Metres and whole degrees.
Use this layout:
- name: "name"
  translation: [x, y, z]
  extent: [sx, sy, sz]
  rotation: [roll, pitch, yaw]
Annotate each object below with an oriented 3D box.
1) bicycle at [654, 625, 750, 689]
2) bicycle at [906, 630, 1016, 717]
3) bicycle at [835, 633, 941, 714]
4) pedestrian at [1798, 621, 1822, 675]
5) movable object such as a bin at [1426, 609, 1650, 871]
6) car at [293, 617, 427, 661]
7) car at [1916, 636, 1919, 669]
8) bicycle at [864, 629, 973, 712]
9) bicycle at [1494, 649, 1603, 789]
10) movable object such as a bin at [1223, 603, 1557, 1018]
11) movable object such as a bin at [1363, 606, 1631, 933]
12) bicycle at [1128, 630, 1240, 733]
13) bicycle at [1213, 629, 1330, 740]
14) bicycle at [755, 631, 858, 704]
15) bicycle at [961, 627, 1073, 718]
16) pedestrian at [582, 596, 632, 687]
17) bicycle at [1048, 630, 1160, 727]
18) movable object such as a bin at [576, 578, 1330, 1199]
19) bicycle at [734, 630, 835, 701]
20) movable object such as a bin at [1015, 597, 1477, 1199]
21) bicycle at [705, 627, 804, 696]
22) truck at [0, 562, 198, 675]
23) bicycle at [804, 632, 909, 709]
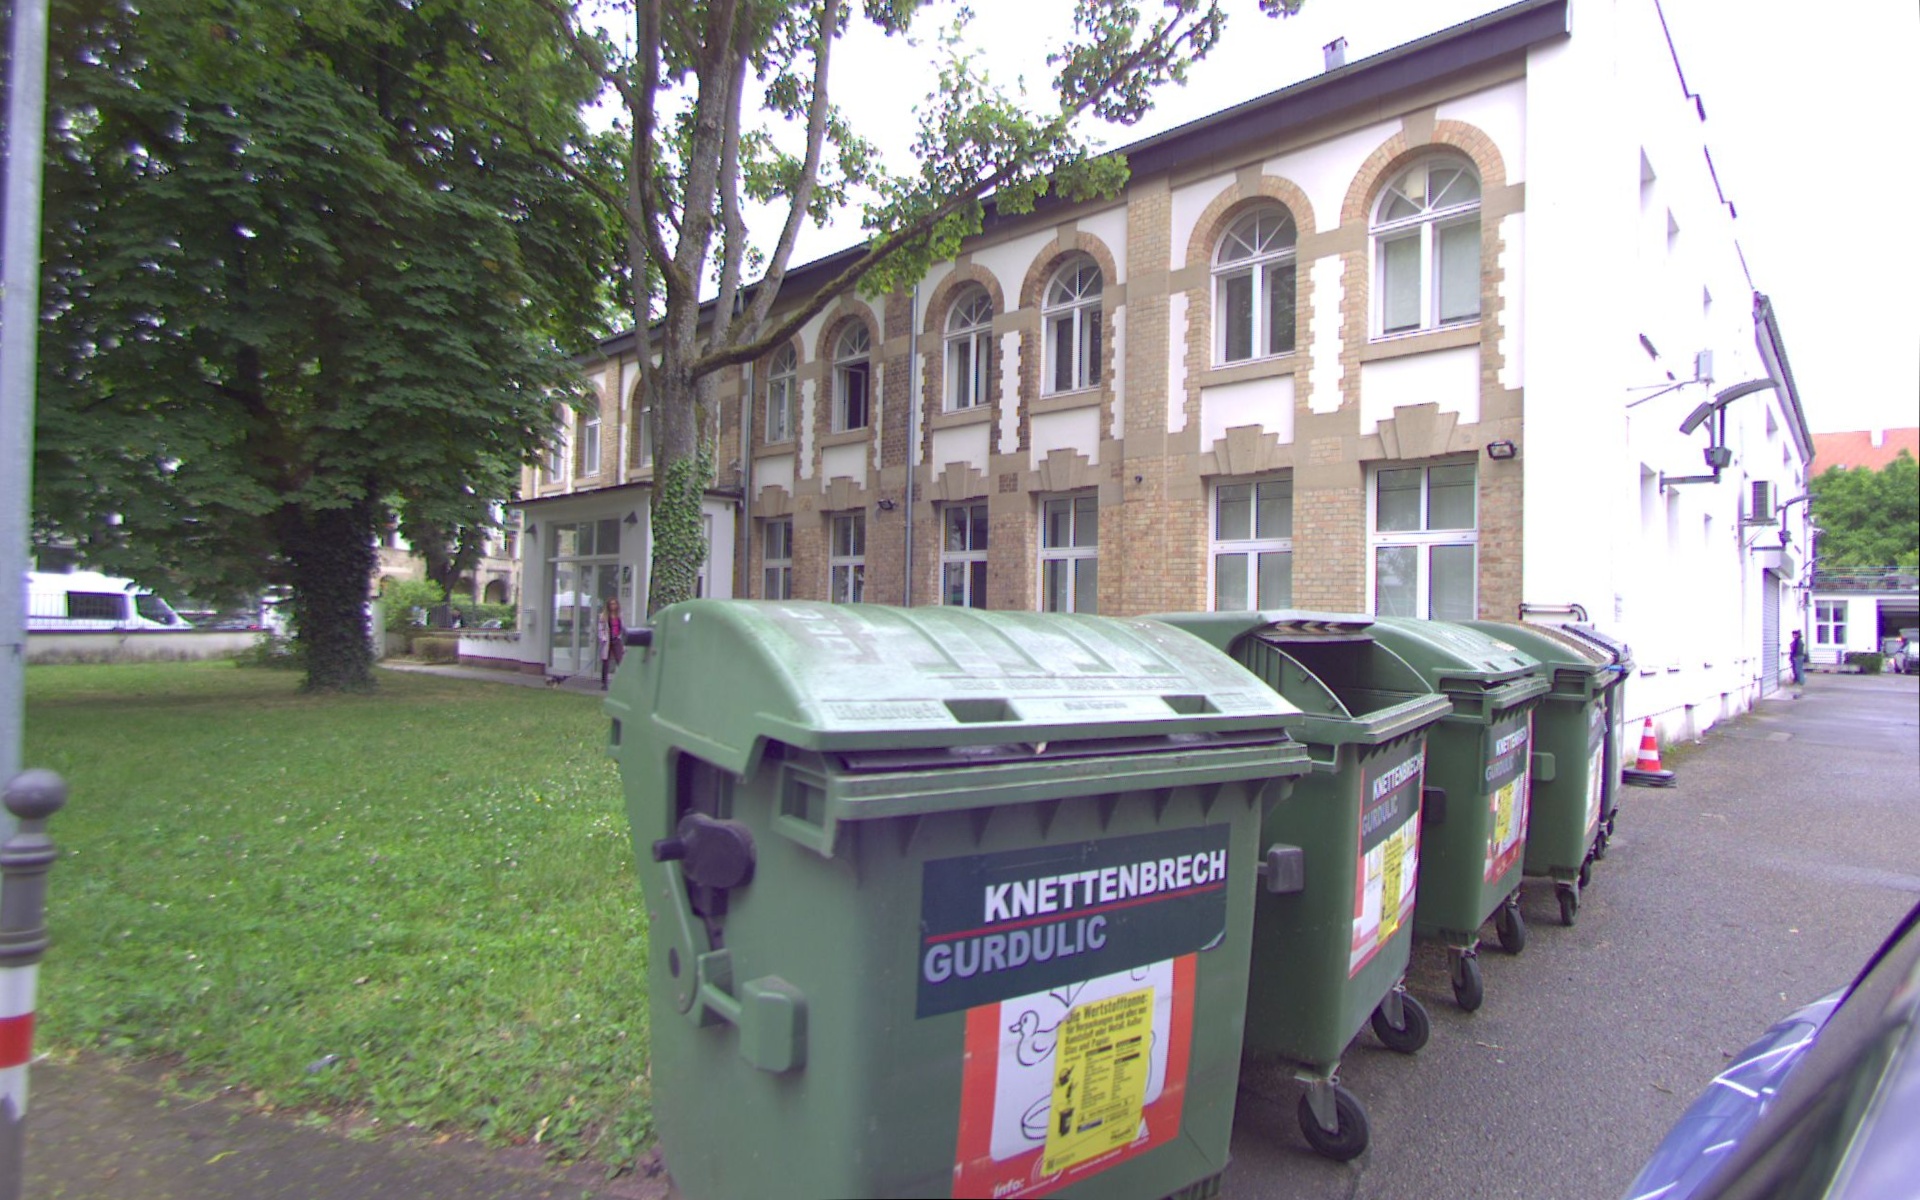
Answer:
- name: "bicycle"
  translation: [-4.742, 1.028, 18.718]
  extent: [0.459, 1.129, 1.716]
  rotation: [-1, -2, 44]
- name: "bicycle"
  translation: [0.038, 0.989, 14.081]
  extent: [0.459, 1.129, 1.716]
  rotation: [-1, -2, 44]
- name: "bicycle"
  translation: [-1.057, 1.071, 15.194]
  extent: [0.459, 1.129, 1.716]
  rotation: [-1, -2, 44]
- name: "pedestrian"
  translation: [25.339, 1.417, 30.167]
  extent: [0.496, 1.582, 0.424]
  rotation: [0, -2, 36]
- name: "movable object such as a bin"
  translation: [3.775, 0.806, 6.577]
  extent: [1.102, 1.469, 1.344]
  rotation: [-1, -2, 37]
- name: "car"
  translation: [-20.021, 1.256, 33.976]
  extent: [1.784, 1.371, 3.797]
  rotation: [1, -1, 11]
- name: "car"
  translation: [43.161, 2.333, 44.079]
  extent: [1.911, 1.416, 3.942]
  rotation: [-1, -1, 40]
- name: "bicycle"
  translation: [-0.579, 0.992, 14.655]
  extent: [0.459, 1.129, 1.716]
  rotation: [-1, -2, 44]
- name: "bicycle"
  translation: [5.414, 1.036, 9.268]
  extent: [0.459, 1.129, 1.716]
  rotation: [-1, -2, 44]
- name: "movable object such as a bin"
  translation: [1.921, 0.762, 4.452]
  extent: [1.102, 1.469, 1.277]
  rotation: [-1, -2, 36]
- name: "movable object such as a bin"
  translation: [2.899, 0.778, 5.420]
  extent: [1.102, 1.469, 1.309]
  rotation: [-1, -2, 36]
- name: "bicycle"
  translation: [2.686, 0.932, 12.011]
  extent: [0.459, 1.129, 1.716]
  rotation: [-1, -2, 44]
- name: "bicycle"
  translation: [3.471, 0.896, 11.205]
  extent: [1.715, 1.129, 0.459]
  rotation: [2, -2, -44]
- name: "bicycle"
  translation: [-2.487, 1.073, 16.527]
  extent: [0.459, 1.129, 1.716]
  rotation: [-1, -2, 44]
- name: "bicycle"
  translation: [0.783, 0.927, 13.448]
  extent: [0.459, 1.129, 1.716]
  rotation: [-1, -2, 44]
- name: "pedestrian"
  translation: [-6.343, 0.737, 18.197]
  extent: [0.625, 1.607, 0.595]
  rotation: [0, -2, 43]
- name: "bicycle"
  translation: [1.833, 0.951, 12.703]
  extent: [0.459, 1.129, 1.716]
  rotation: [-1, -2, 44]
- name: "movable object such as a bin"
  translation: [-0.023, 0.709, 2.205]
  extent: [1.252, 1.452, 1.071]
  rotation: [1, -1, -38]
- name: "bicycle"
  translation: [-2.943, 1.073, 17.068]
  extent: [0.459, 1.129, 1.716]
  rotation: [-1, -2, 44]
- name: "movable object such as a bin"
  translation: [0.988, 0.745, 3.340]
  extent: [1.102, 1.469, 1.269]
  rotation: [-1, -2, 36]
- name: "bicycle"
  translation: [-3.546, 1.048, 17.595]
  extent: [0.459, 1.129, 1.716]
  rotation: [-1, -2, 44]
- name: "truck"
  translation: [-22.438, 0.436, 25.474]
  extent: [2.138, 2.578, 4.904]
  rotation: [1, -1, 15]
- name: "bicycle"
  translation: [-1.590, 1.060, 15.731]
  extent: [0.459, 1.129, 1.716]
  rotation: [-1, -2, 44]
